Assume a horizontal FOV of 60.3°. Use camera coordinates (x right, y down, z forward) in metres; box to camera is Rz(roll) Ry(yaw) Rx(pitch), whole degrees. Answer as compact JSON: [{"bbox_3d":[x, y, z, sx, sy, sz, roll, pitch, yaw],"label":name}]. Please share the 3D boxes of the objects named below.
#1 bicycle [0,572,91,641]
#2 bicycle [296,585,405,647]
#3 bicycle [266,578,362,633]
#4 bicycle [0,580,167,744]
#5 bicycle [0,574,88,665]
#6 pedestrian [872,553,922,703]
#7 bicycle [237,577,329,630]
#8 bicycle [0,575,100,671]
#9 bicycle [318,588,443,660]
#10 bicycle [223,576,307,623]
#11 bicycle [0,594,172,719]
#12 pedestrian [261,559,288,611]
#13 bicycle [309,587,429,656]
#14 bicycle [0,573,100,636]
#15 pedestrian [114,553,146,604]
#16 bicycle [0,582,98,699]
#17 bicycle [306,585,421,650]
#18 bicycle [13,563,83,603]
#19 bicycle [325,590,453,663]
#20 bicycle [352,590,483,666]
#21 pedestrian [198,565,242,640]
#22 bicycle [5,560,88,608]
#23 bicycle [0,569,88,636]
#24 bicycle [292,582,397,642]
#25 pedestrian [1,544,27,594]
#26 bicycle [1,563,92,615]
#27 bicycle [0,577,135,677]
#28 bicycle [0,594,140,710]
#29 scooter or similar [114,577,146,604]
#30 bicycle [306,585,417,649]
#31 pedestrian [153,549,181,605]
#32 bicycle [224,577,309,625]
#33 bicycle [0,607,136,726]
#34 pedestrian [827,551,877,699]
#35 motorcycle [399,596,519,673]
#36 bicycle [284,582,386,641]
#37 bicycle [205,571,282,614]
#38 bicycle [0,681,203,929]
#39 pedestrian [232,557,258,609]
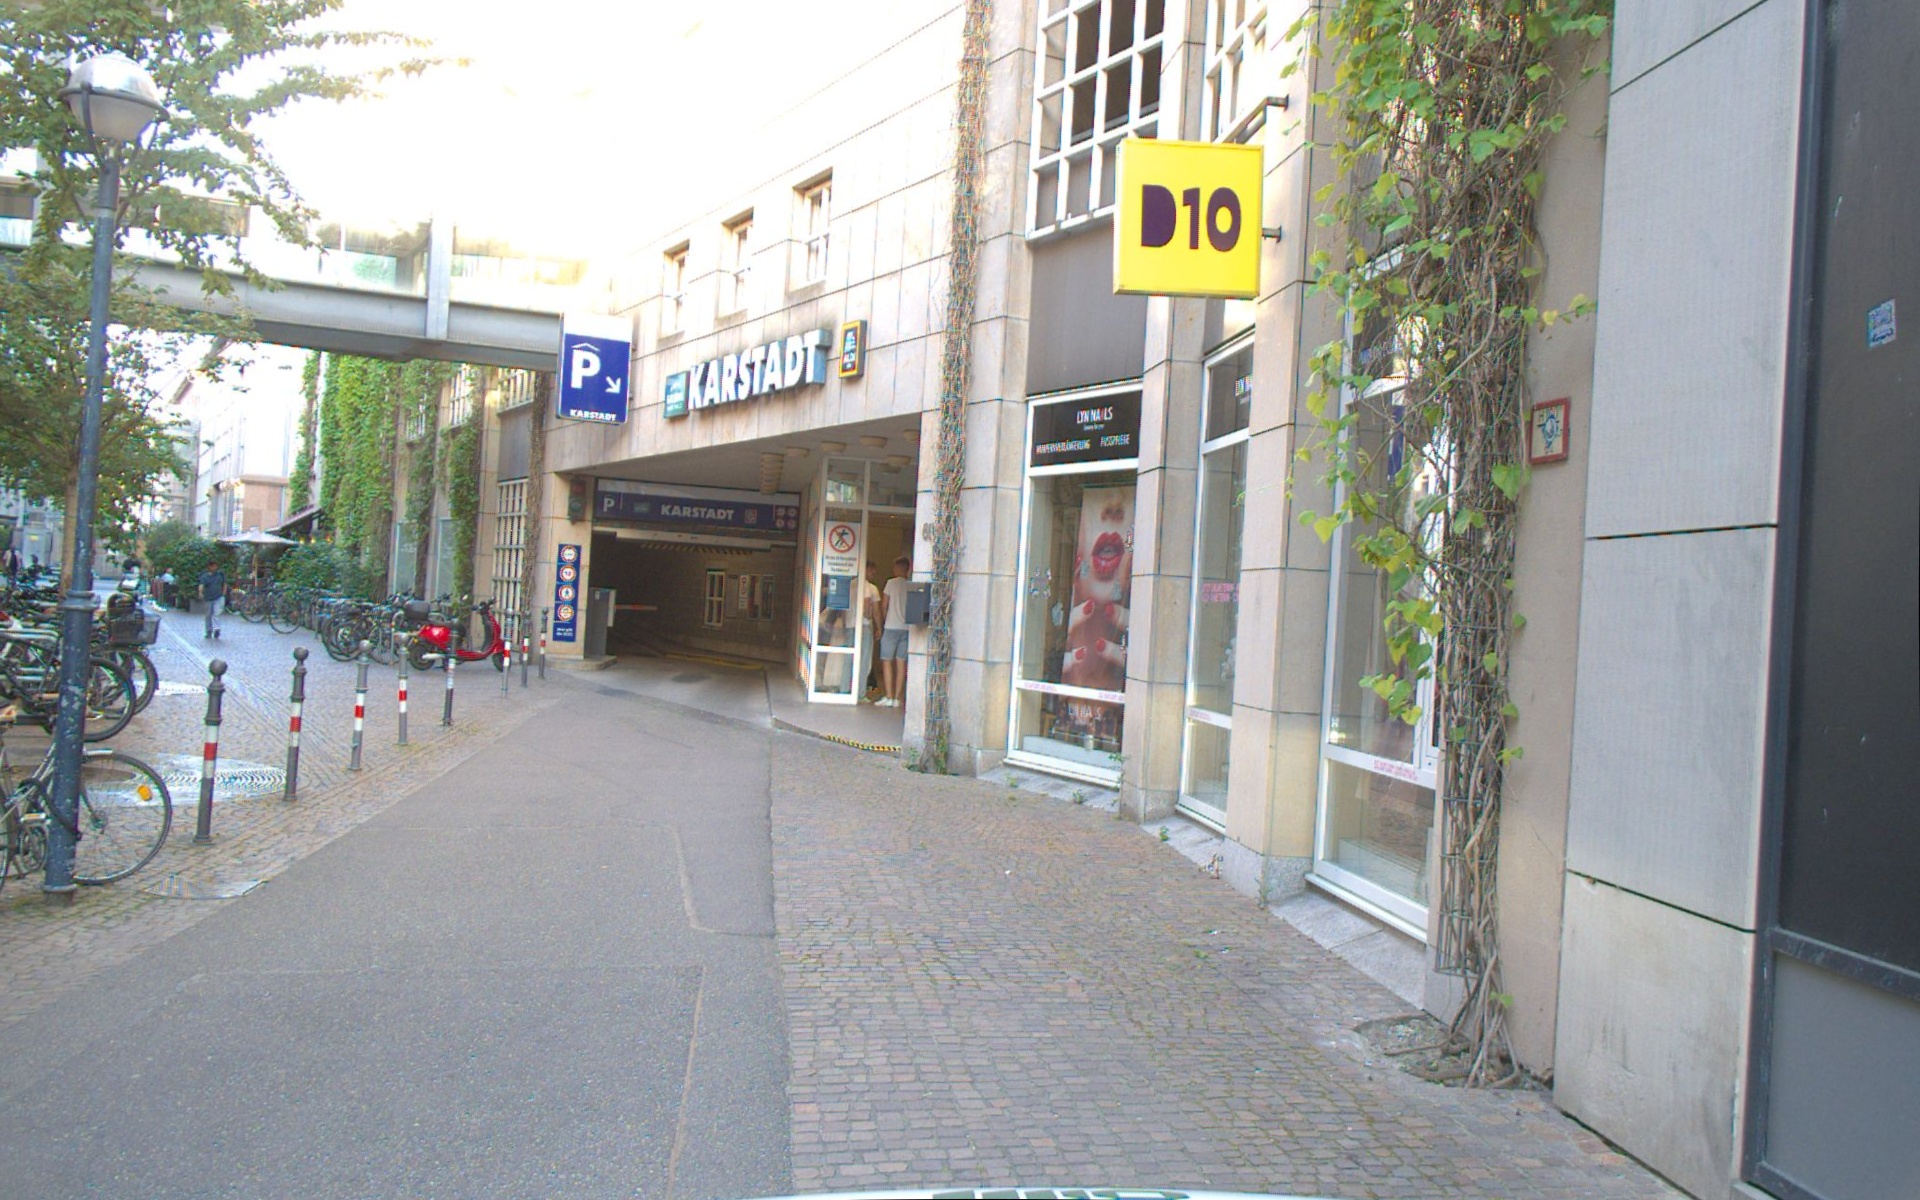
[{"bbox_3d":[-17.267,0.105,30.728,1.888,1.203,0.691,3,0,-25],"label":"bicycle"},{"bbox_3d":[-12.229,0.331,33.193,1.970,1.203,0.688,1,0,-27],"label":"bicycle"},{"bbox_3d":[-14.681,0.137,37.582,1.970,1.203,0.688,1,0,-27],"label":"bicycle"},{"bbox_3d":[-7.616,0.495,13.614,1.891,1.283,0.801,3,0,-28],"label":"bicycle"},{"bbox_3d":[-13.166,0.251,22.829,1.888,1.203,0.691,3,0,-25],"label":"bicycle"},{"bbox_3d":[-0.807,0.359,21.359,0.531,1.894,0.408,3,0,-1],"label":"pedestrian"},{"bbox_3d":[-16.050,0.084,39.225,1.970,1.203,0.688,1,0,-27],"label":"bicycle"},{"bbox_3d":[-12.487,0.292,21.872,1.888,1.203,0.691,3,0,-25],"label":"bicycle"},{"bbox_3d":[-10.155,0.424,29.000,1.970,1.203,0.796,1,1,-27],"label":"bicycle"},{"bbox_3d":[-18.322,-0.009,43.611,1.970,1.203,0.688,1,0,-27],"label":"bicycle"},{"bbox_3d":[-8.625,0.535,15.827,1.891,1.121,0.690,3,0,-28],"label":"bicycle"},{"bbox_3d":[-24.949,-0.558,60.177,0.765,1.836,0.761,3,0,-27],"label":"pedestrian"},{"bbox_3d":[-10.734,0.388,30.063,1.970,1.203,0.796,1,1,-27],"label":"bicycle"},{"bbox_3d":[-18.888,0.090,34.181,1.888,1.203,0.691,3,0,-25],"label":"bicycle"},{"bbox_3d":[-27.713,-0.721,55.223,0.881,1.668,0.903,3,0,-29],"label":"pedestrian"},{"bbox_3d":[-10.341,0.415,17.697,1.888,1.203,0.691,3,0,-25],"label":"bicycle"},{"bbox_3d":[-11.339,0.333,31.446,1.970,1.203,0.796,1,1,-27],"label":"bicycle"},{"bbox_3d":[-29.945,-0.551,54.340,1.888,1.203,0.691,3,0,-25],"label":"bicycle"},{"bbox_3d":[-9.717,0.460,28.171,1.970,1.203,0.690,1,0,-27],"label":"bicycle"},{"bbox_3d":[-8.985,0.464,27.405,1.970,1.203,0.690,1,0,-27],"label":"bicycle"},{"bbox_3d":[-15.575,0.051,34.806,0.740,1.536,0.632,3,0,-29],"label":"pedestrian"},{"bbox_3d":[-24.964,-0.436,45.231,1.888,1.203,0.691,3,0,-25],"label":"bicycle"},{"bbox_3d":[-17.716,0.036,31.481,1.888,1.203,0.691,3,0,-25],"label":"bicycle"},{"bbox_3d":[-12.799,0.249,34.378,1.970,1.203,0.688,1,0,-27],"label":"bicycle"},{"bbox_3d":[-35.870,-1.170,62.719,0.765,1.836,0.629,3,0,-27],"label":"pedestrian"},{"bbox_3d":[-22.940,-0.266,41.555,1.888,1.203,0.691,3,0,-25],"label":"bicycle"},{"bbox_3d":[-11.703,0.336,21.234,1.888,1.203,0.691,3,0,-25],"label":"bicycle"},{"bbox_3d":[-9.486,0.517,16.906,1.888,1.121,0.691,3,0,-25],"label":"bicycle"},{"bbox_3d":[-27.301,-0.310,54.421,0.881,0.858,0.903,3,0,-29],"label":"scooter or similar"},{"bbox_3d":[-11.713,0.340,32.390,1.970,1.203,0.688,1,0,-27],"label":"bicycle"},{"bbox_3d":[-26.534,-0.768,55.326,0.756,1.836,0.770,3,0,-29],"label":"pedestrian"},{"bbox_3d":[-17.955,0.023,42.844,1.970,1.203,0.688,1,0,-27],"label":"bicycle"},{"bbox_3d":[-8.517,0.587,14.916,1.891,1.011,0.690,3,0,-28],"label":"bicycle"},{"bbox_3d":[-1.408,0.321,21.515,0.531,1.878,0.408,3,0,-1],"label":"pedestrian"},{"bbox_3d":[-7.839,0.541,25.873,1.723,1.175,0.590,1,0,-25],"label":"motorcycle"},{"bbox_3d":[-13.365,0.245,35.383,1.970,1.203,0.688,1,0,-27],"label":"bicycle"},{"bbox_3d":[-20.708,-0.207,47.809,1.970,1.203,0.688,1,0,-27],"label":"bicycle"},{"bbox_3d":[-4.265,0.913,7.675,0.494,0.983,1.696,2,0,8],"label":"bicycle"},{"bbox_3d":[-25.930,-0.613,60.005,0.765,1.836,0.761,3,0,-27],"label":"pedestrian"}]
